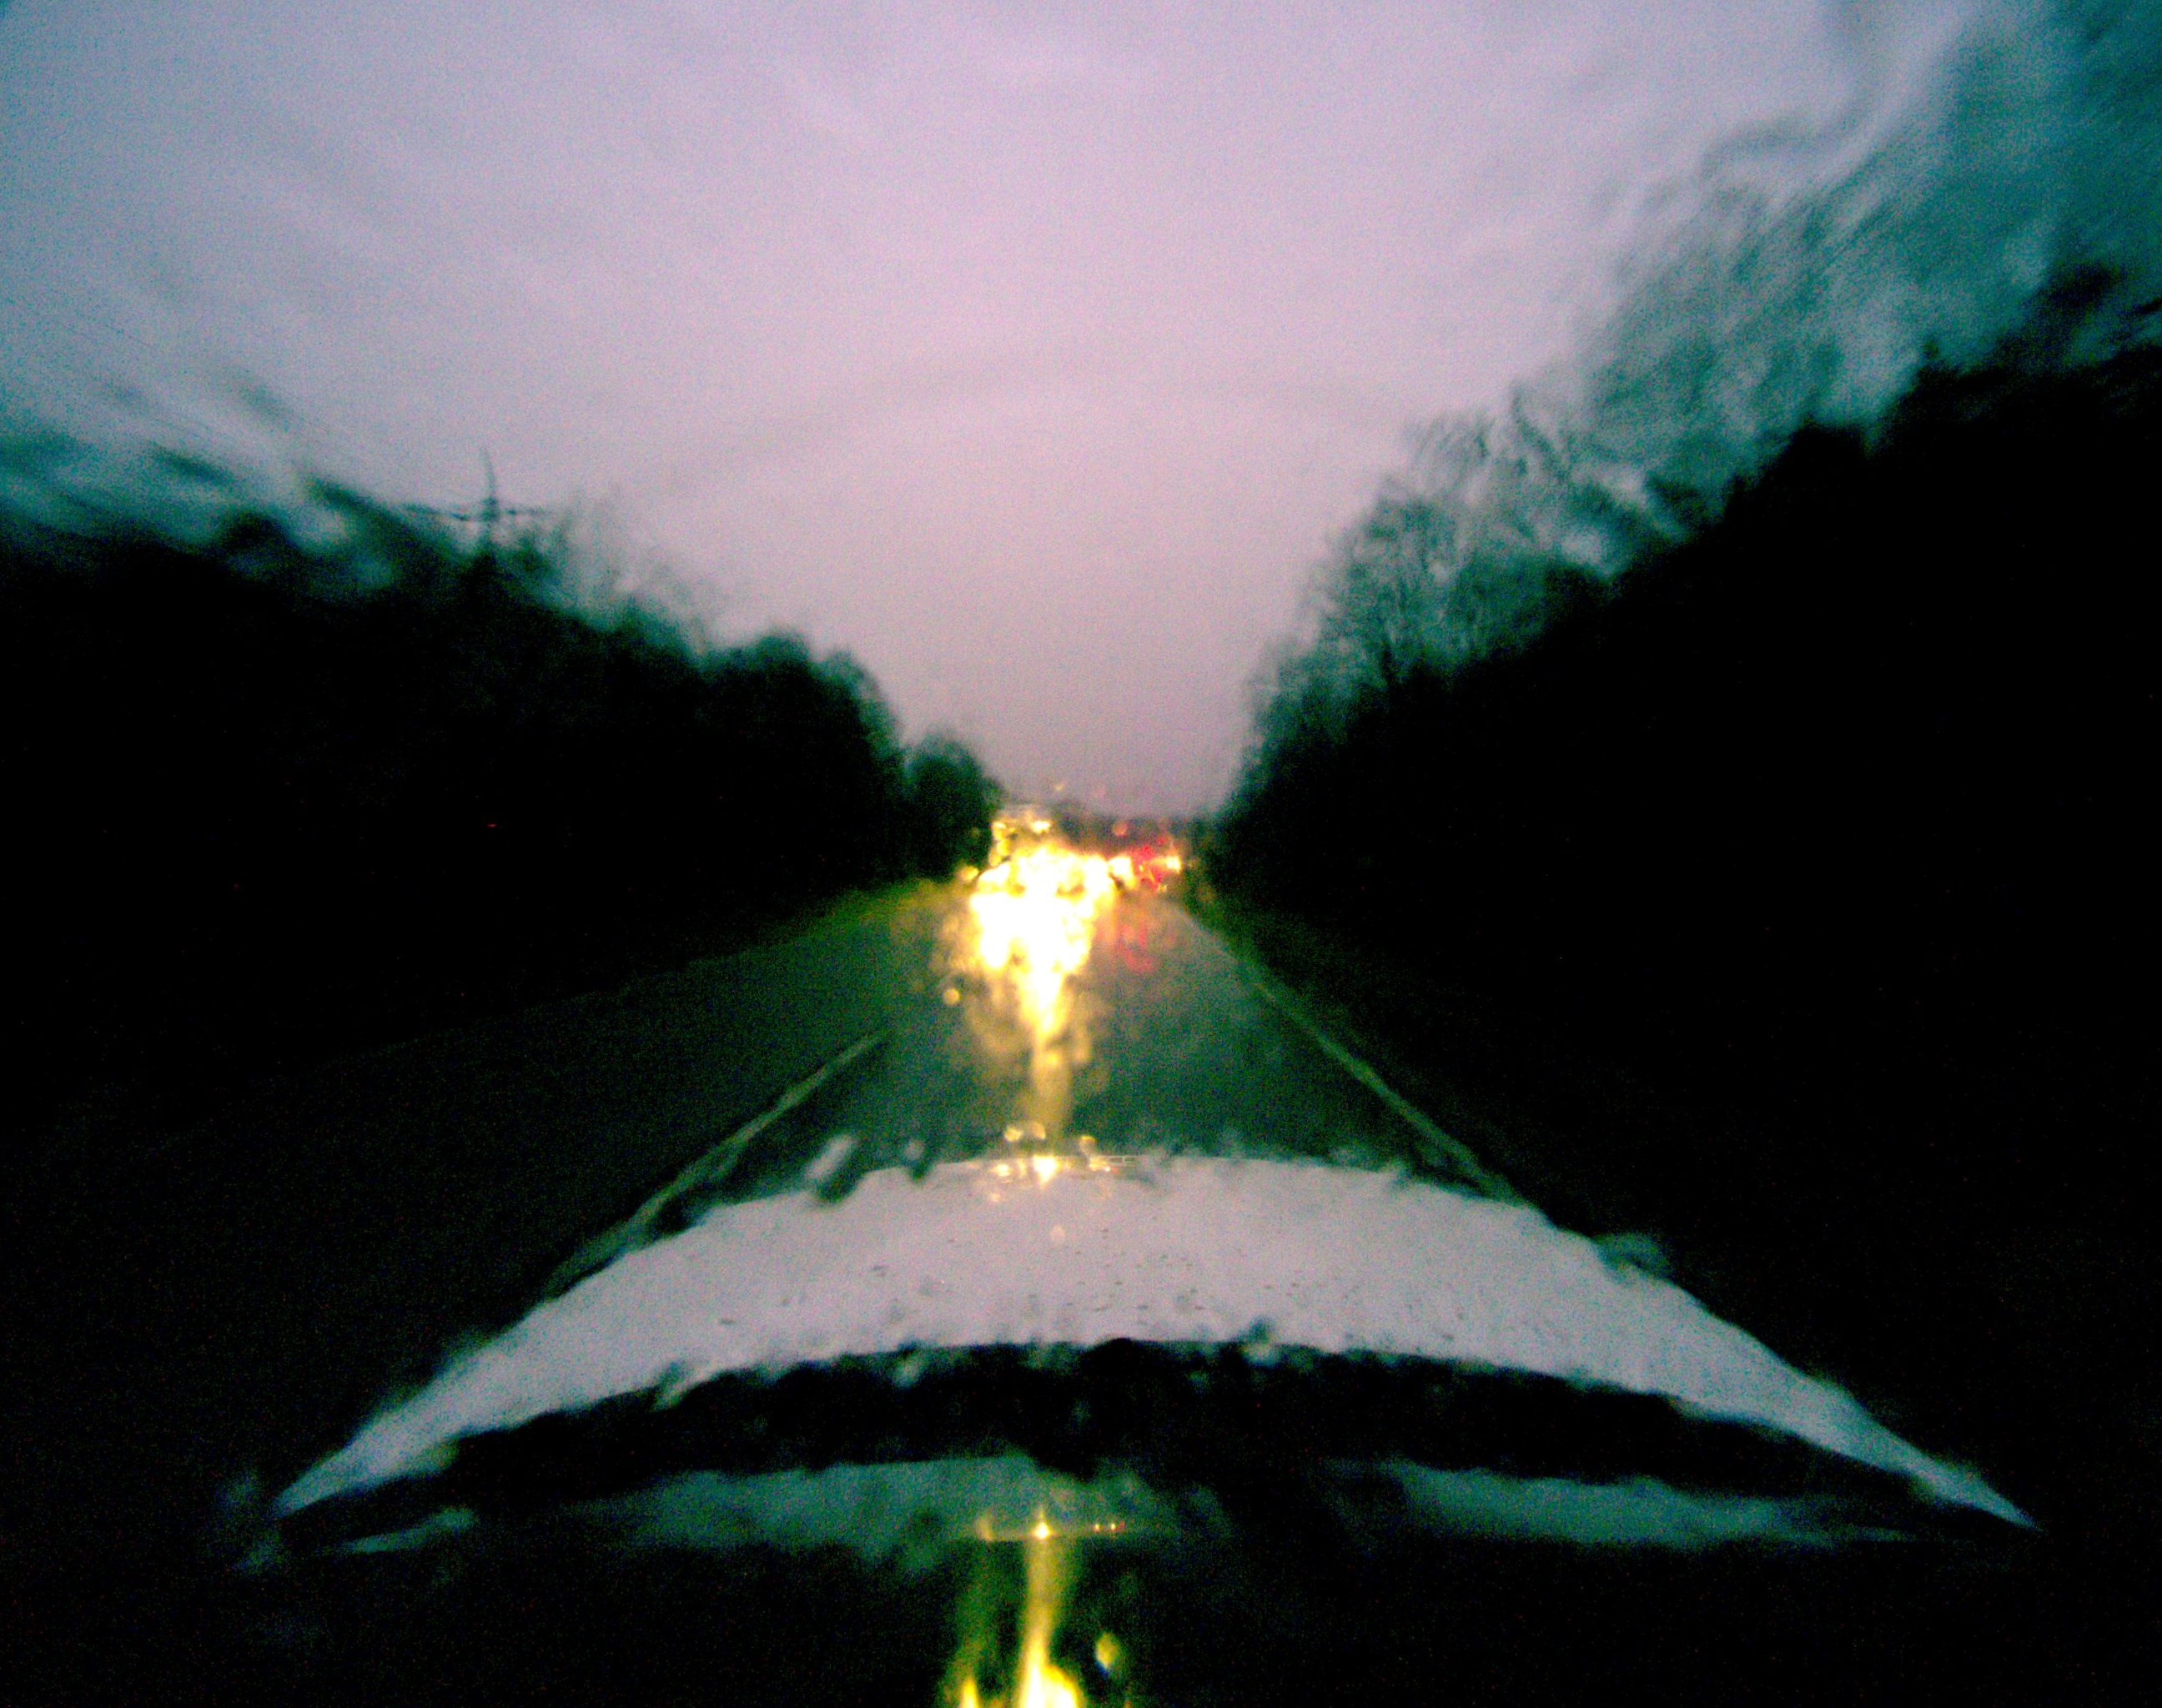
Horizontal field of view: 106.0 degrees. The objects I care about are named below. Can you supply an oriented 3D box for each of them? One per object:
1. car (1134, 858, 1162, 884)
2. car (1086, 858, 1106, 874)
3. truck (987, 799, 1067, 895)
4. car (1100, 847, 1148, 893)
[{"bbox_3d":[5.517,1.360,66.790,1.983,2.013,4.009,-2,0,7],"label":"car"},{"bbox_3d":[1.587,1.198,82.505,1.737,1.473,4.489,0,0,4],"label":"car"},{"bbox_3d":[-2.420,-0.298,39.257,2.787,4.126,7.207,-2,0,4],"label":"truck"},{"bbox_3d":[1.641,0.591,32.000,1.721,1.643,4.001,-2,0,1],"label":"car"}]
